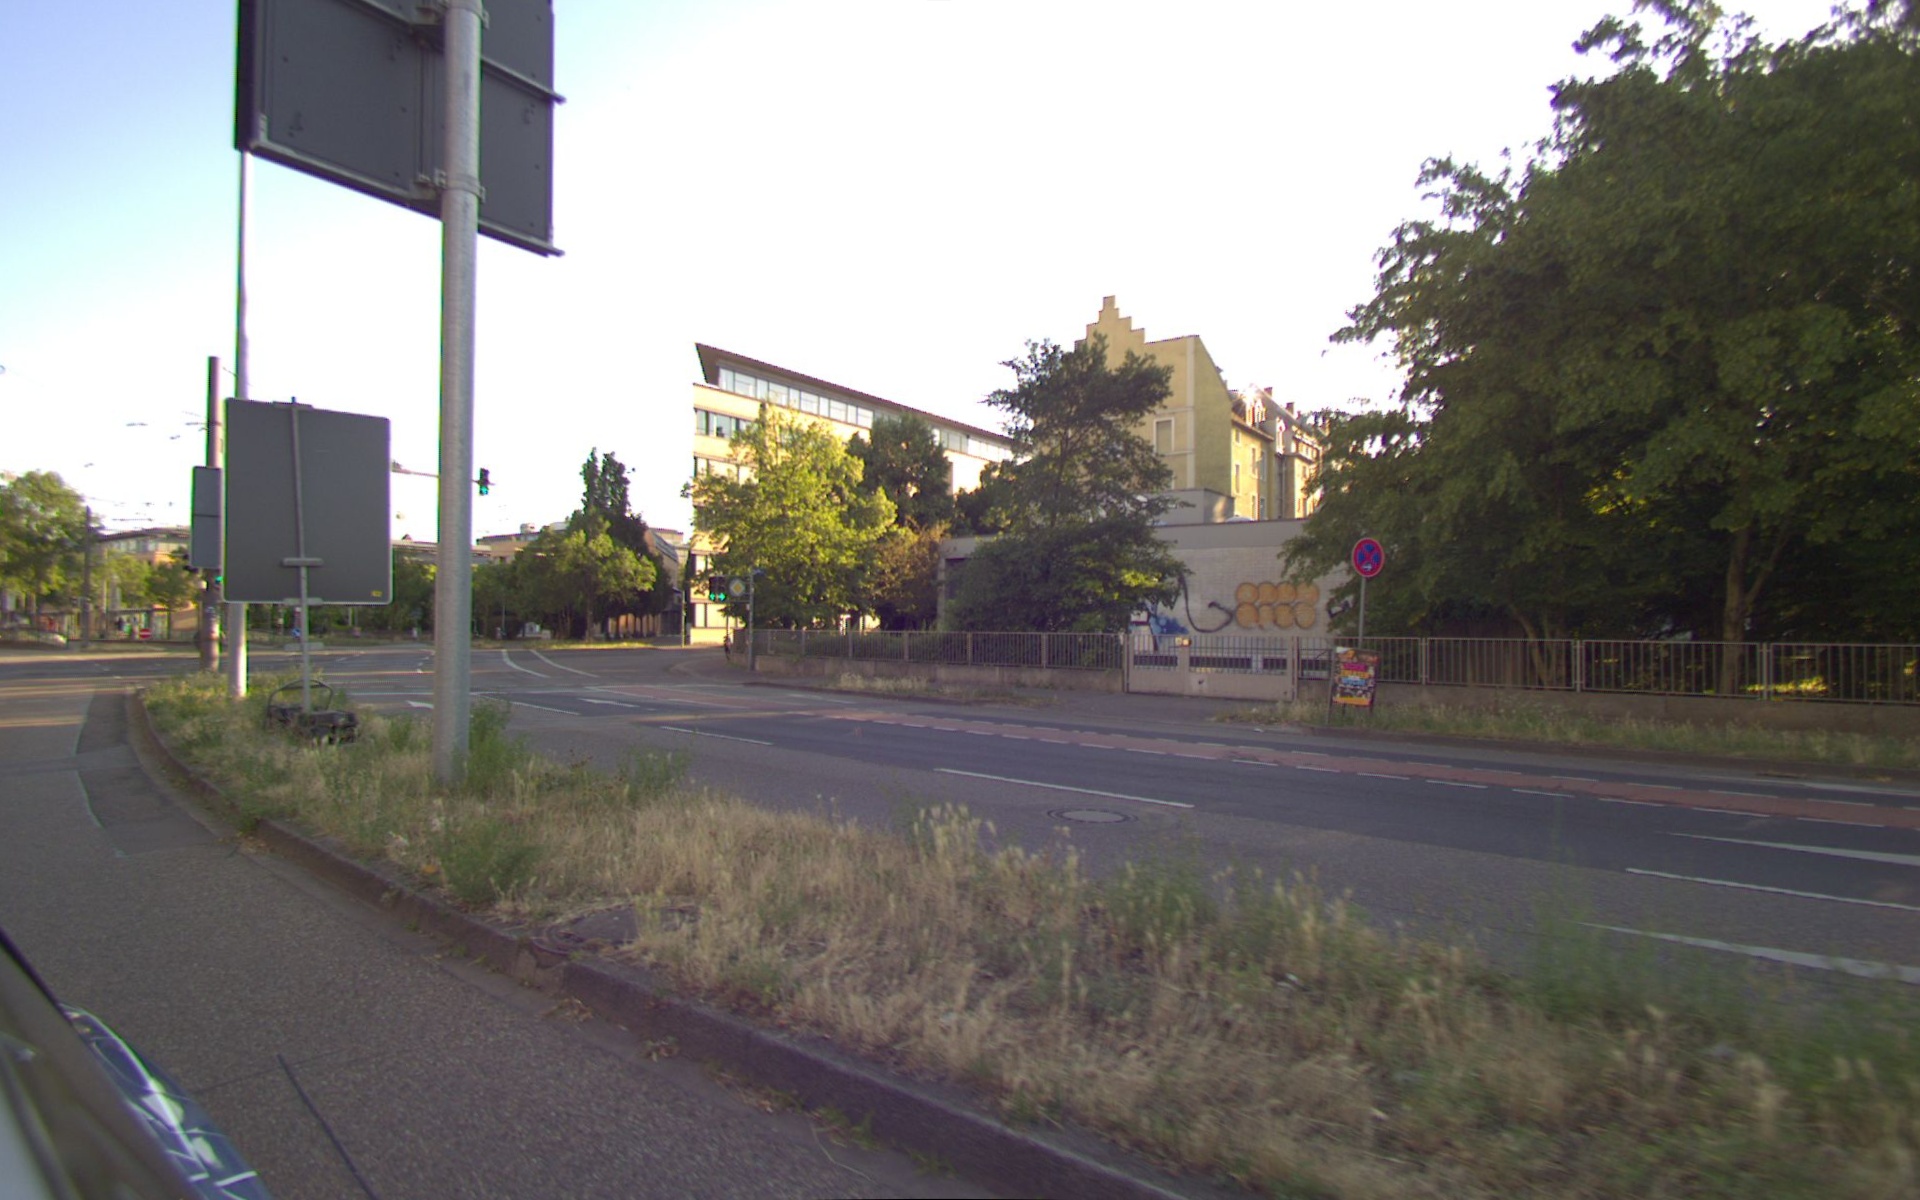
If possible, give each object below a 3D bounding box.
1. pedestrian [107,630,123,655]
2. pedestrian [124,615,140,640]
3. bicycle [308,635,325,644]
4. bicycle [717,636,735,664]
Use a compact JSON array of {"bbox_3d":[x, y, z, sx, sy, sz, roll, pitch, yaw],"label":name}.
[{"bbox_3d":[-69.466,3.513,83.181,1.125,2.029,0.762,-1,-2,37],"label":"pedestrian"},{"bbox_3d":[-68.403,2.254,83.583,1.125,2.029,0.762,-1,-2,37],"label":"pedestrian"},{"bbox_3d":[-62.053,3.779,97.620,1.963,0.827,0.767,-1,-2,38],"label":"bicycle"},{"bbox_3d":[-9.775,2.078,42.249,0.550,1.151,1.724,0,-2,-7],"label":"bicycle"}]
